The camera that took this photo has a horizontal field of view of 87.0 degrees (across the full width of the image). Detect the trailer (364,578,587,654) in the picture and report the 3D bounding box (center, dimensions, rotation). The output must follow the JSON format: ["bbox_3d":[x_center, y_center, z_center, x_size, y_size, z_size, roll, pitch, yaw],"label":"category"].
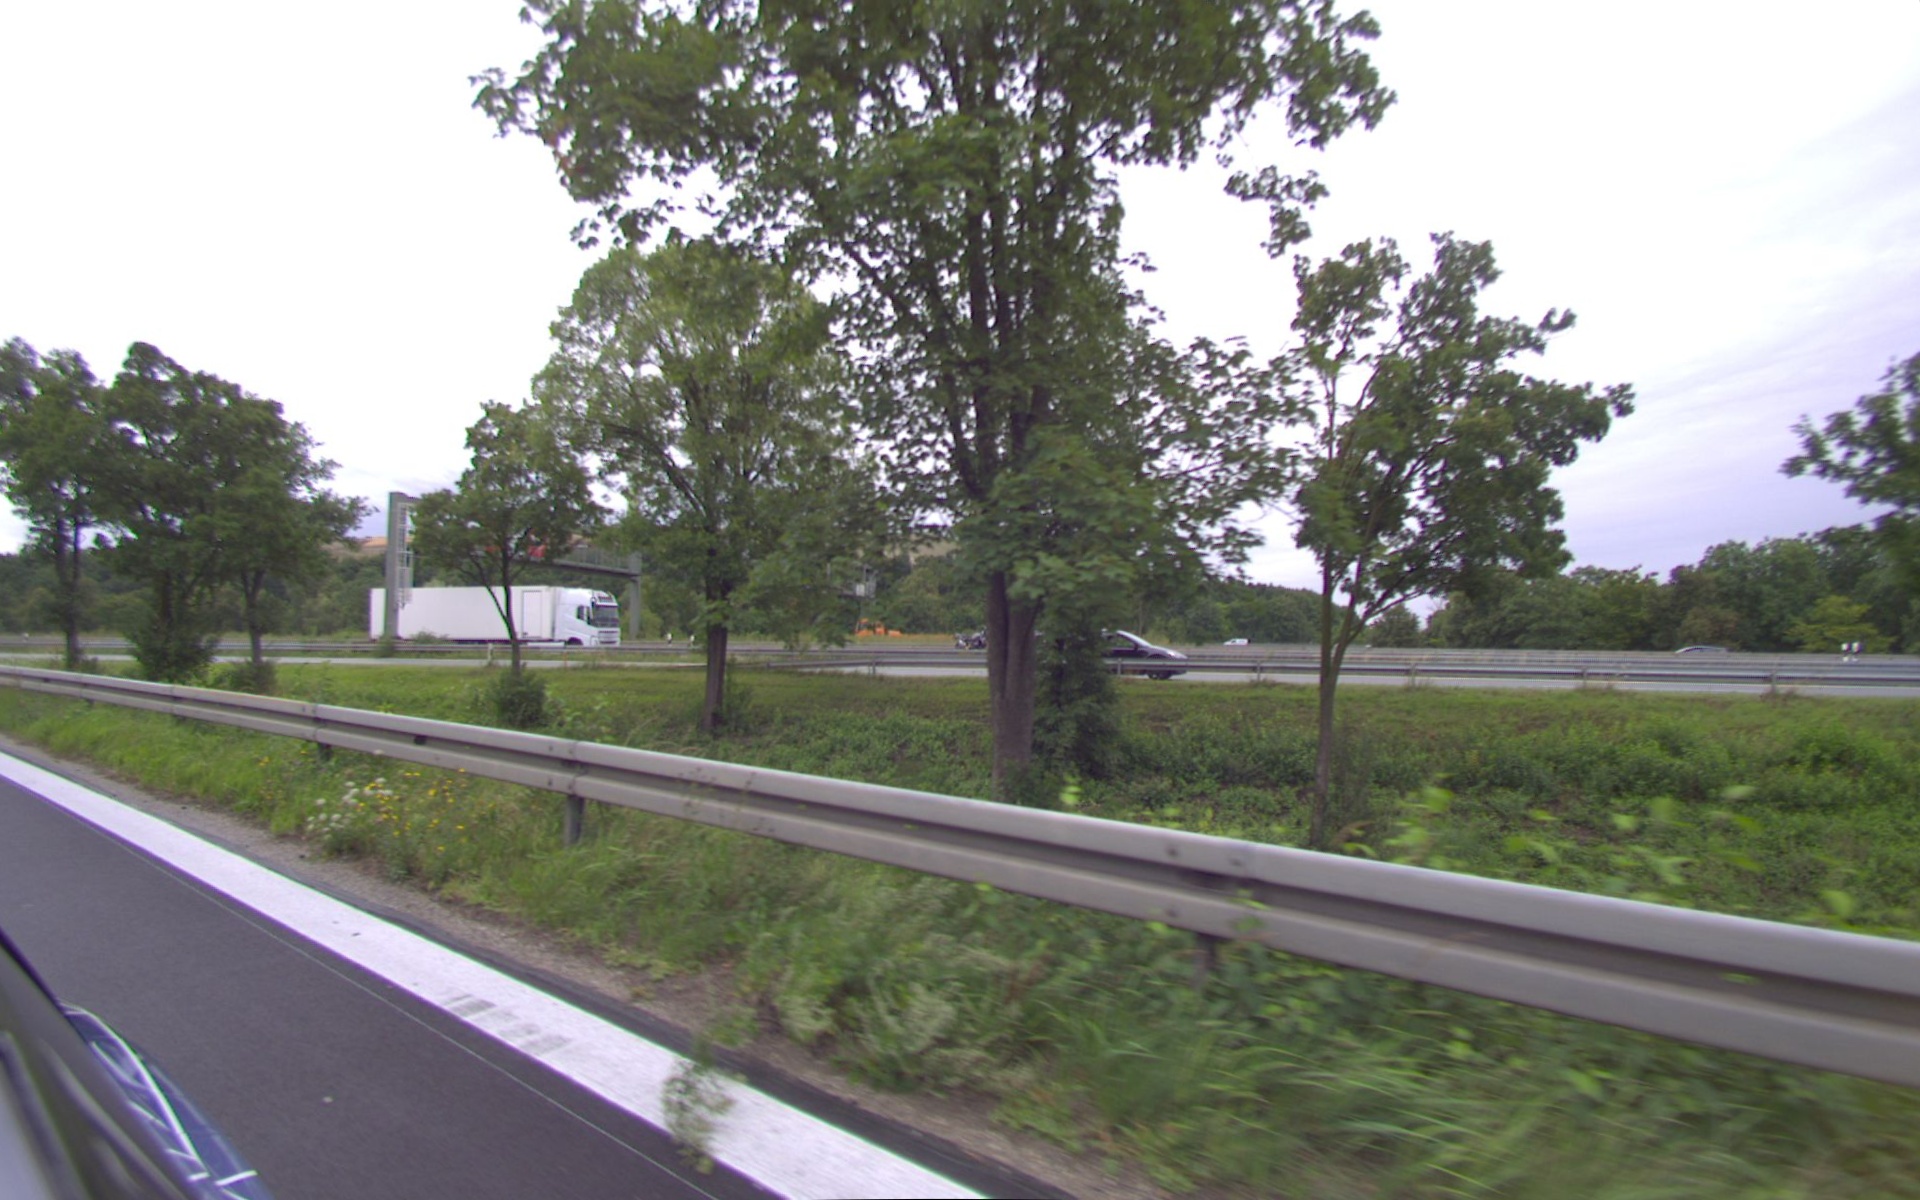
[{"bbox_3d":[-28.630,0.979,59.633,13.839,4.167,2.758,-1,-2,19],"label":"trailer"}]

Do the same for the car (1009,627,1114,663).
[{"bbox_3d":[4.881,2.139,48.712,4.768,1.638,1.876,0,-1,19],"label":"car"}]

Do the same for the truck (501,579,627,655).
[{"bbox_3d":[-22.516,0.985,57.541,6.393,4.167,2.758,-1,-2,19],"label":"truck"}]

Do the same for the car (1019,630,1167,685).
[{"bbox_3d":[4.373,1.824,33.147,4.518,1.650,1.955,0,-1,19],"label":"car"}]

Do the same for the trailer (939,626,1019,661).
[{"bbox_3d":[0.959,2.135,50.068,3.582,1.638,1.876,0,-1,19],"label":"trailer"}]

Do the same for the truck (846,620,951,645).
[{"bbox_3d":[-5.195,2.689,84.820,8.752,2.029,1.986,0,-1,22],"label":"truck"}]
